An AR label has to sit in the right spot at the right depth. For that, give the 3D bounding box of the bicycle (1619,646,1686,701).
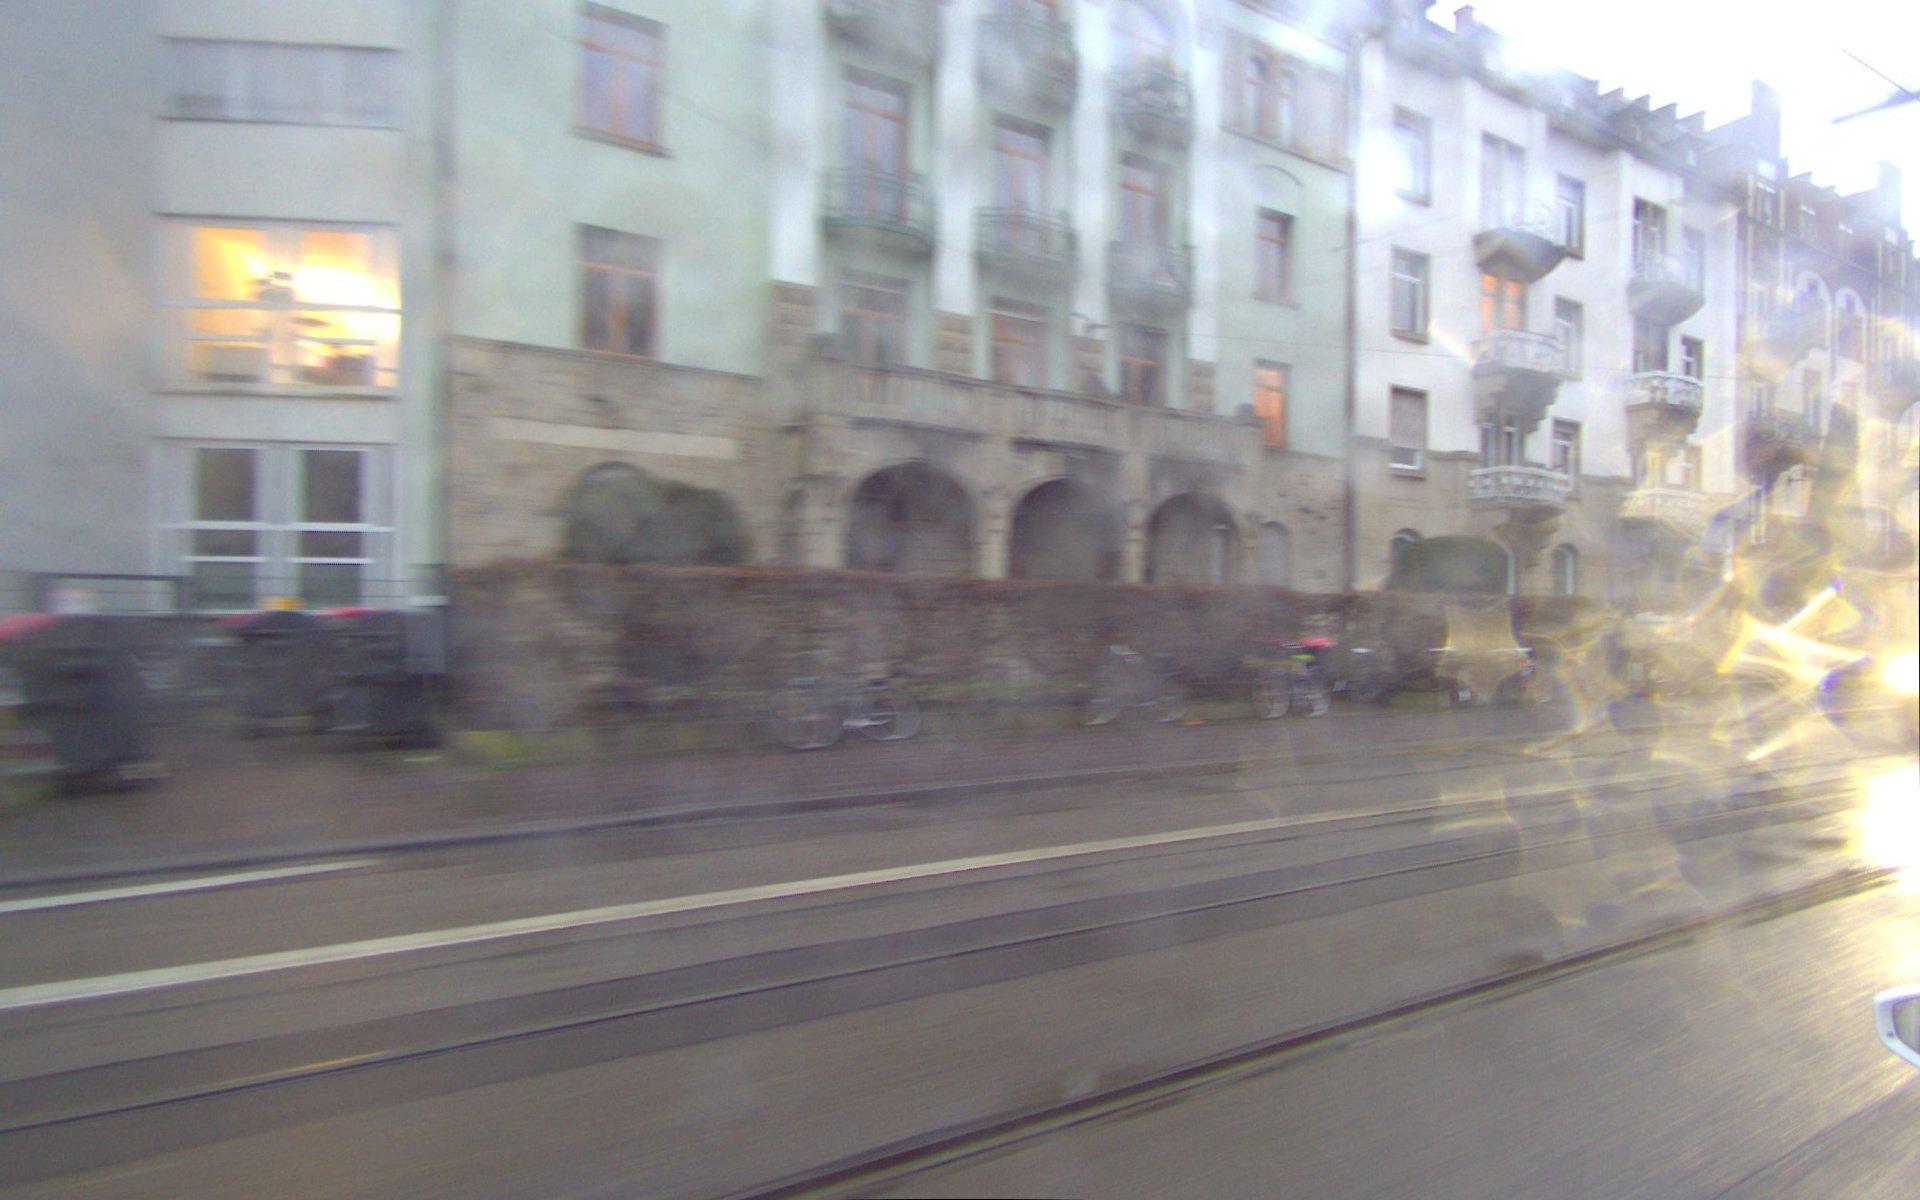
[{"bbox_3d":[13.880,1.456,20.124,1.583,1.044,0.686,2,-3,-40],"label":"bicycle"}]

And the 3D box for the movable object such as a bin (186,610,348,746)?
[{"bbox_3d":[-8.023,0.860,11.732,1.306,1.469,1.260,0,-1,-23],"label":"movable object such as a bin"}]

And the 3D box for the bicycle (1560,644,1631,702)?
[{"bbox_3d":[12.137,1.389,19.162,1.583,1.044,0.686,3,-3,-39],"label":"bicycle"}]

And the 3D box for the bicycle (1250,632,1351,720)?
[{"bbox_3d":[5.088,1.098,14.980,1.583,1.228,0.686,1,-1,-40],"label":"bicycle"}]

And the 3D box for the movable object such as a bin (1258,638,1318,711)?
[{"bbox_3d":[5.473,1.225,16.766,0.738,1.152,0.687,1,-2,-44],"label":"movable object such as a bin"}]

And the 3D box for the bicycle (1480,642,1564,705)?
[{"bbox_3d":[10.074,1.326,17.993,1.581,1.044,0.688,6,-5,-35],"label":"bicycle"}]

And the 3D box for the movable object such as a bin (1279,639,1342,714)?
[{"bbox_3d":[5.629,1.209,16.125,0.738,1.152,0.687,1,-2,-44],"label":"movable object such as a bin"}]

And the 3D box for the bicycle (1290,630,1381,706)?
[{"bbox_3d":[6.724,1.198,18.048,0.483,1.279,1.585,6,-4,-25],"label":"bicycle"}]

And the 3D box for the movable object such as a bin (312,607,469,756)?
[{"bbox_3d":[-6.054,0.827,10.795,1.306,1.469,1.260,0,-1,-23],"label":"movable object such as a bin"}]

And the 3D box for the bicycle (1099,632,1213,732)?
[{"bbox_3d":[2.603,1.042,13.258,1.583,1.228,0.624,1,-1,-40],"label":"bicycle"}]

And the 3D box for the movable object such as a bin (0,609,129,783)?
[{"bbox_3d":[-8.340,0.827,9.066,1.076,1.469,1.107,-1,-1,39],"label":"movable object such as a bin"}]

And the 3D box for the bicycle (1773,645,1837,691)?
[{"bbox_3d":[19.842,1.575,23.582,1.785,1.031,0.622,1,-2,-32],"label":"bicycle"}]

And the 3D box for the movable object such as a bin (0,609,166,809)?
[{"bbox_3d":[-7.301,0.820,8.138,1.247,1.469,1.107,-1,-1,38],"label":"movable object such as a bin"}]

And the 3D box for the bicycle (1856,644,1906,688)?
[{"bbox_3d":[24.458,1.732,26.666,1.792,1.095,0.610,1,-1,-35],"label":"bicycle"}]

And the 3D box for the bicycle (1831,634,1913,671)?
[{"bbox_3d":[28.292,1.616,31.182,0.610,1.095,1.792,0,-1,-36],"label":"bicycle"}]

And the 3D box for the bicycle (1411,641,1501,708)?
[{"bbox_3d":[8.414,1.271,17.017,1.580,1.044,0.687,6,-5,-35],"label":"bicycle"}]

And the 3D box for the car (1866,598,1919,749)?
[{"bbox_3d":[14.793,0.961,13.935,5.044,1.947,2.035,1,-1,-33],"label":"car"}]

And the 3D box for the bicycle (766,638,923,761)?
[{"bbox_3d":[-1.246,1.039,10.963,1.581,1.228,0.687,1,-1,-36],"label":"bicycle"}]

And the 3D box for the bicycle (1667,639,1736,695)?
[{"bbox_3d":[15.542,1.387,21.045,1.909,1.114,0.484,1,-2,-32],"label":"bicycle"}]
